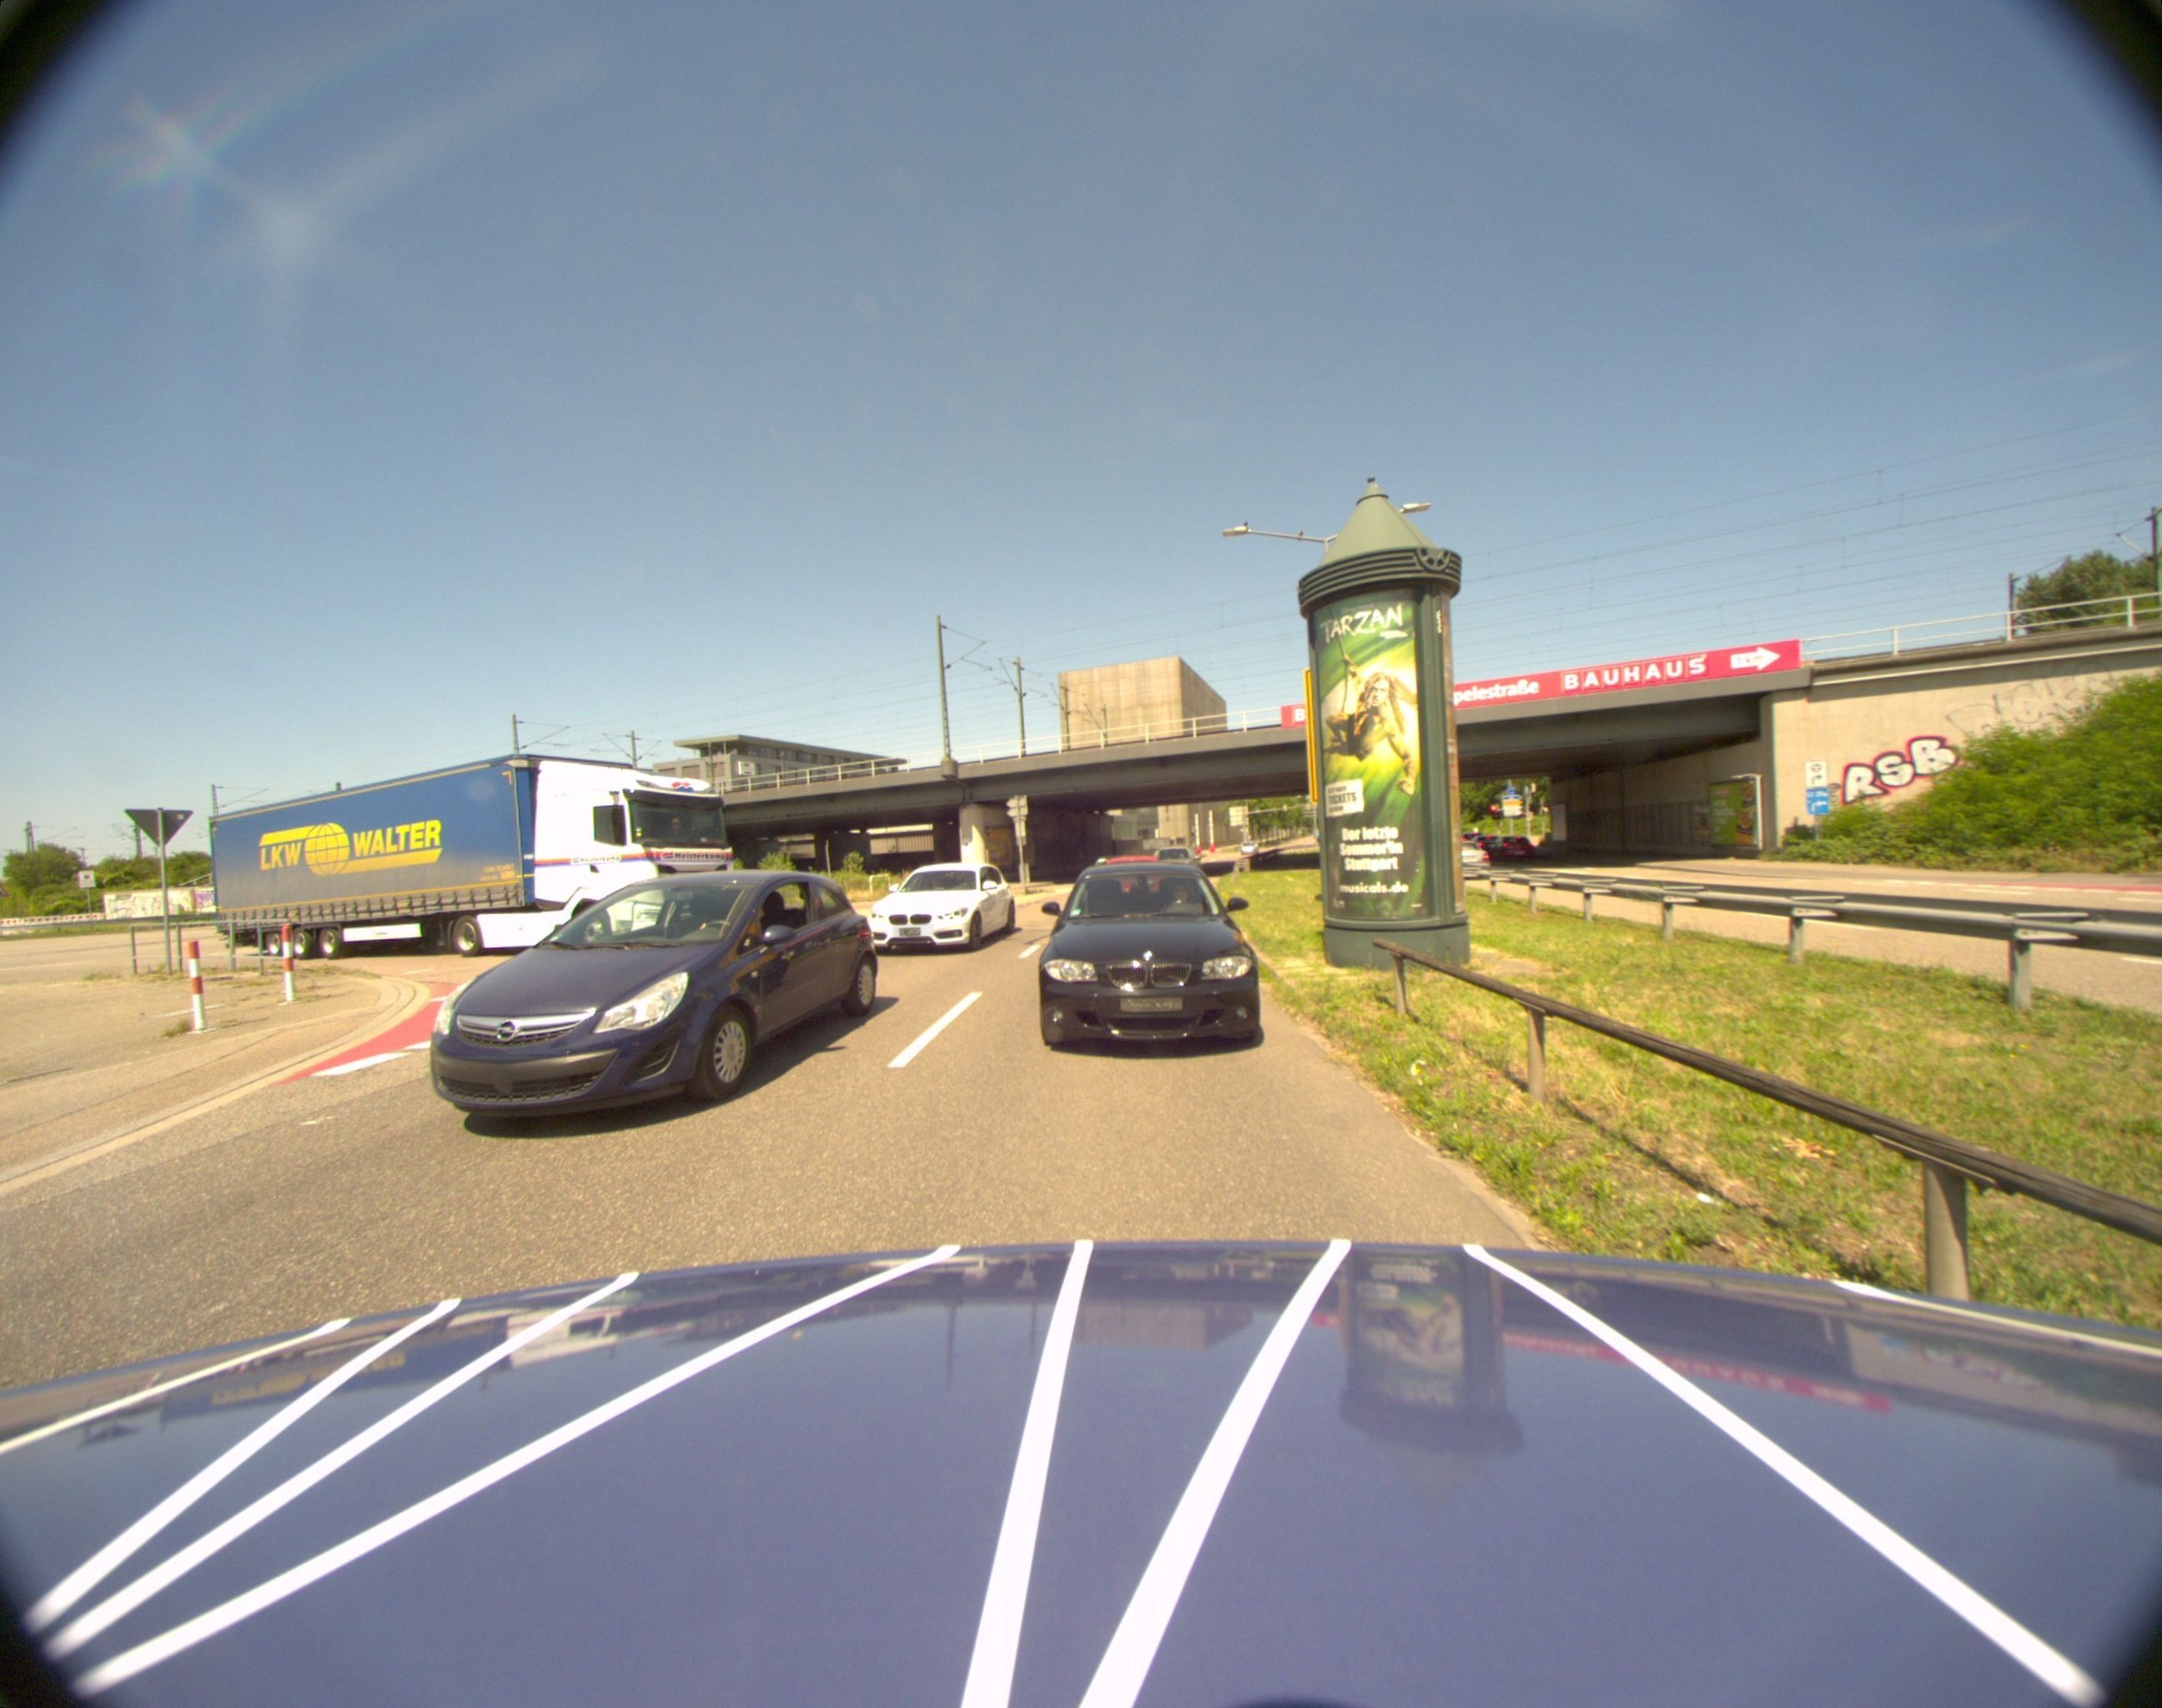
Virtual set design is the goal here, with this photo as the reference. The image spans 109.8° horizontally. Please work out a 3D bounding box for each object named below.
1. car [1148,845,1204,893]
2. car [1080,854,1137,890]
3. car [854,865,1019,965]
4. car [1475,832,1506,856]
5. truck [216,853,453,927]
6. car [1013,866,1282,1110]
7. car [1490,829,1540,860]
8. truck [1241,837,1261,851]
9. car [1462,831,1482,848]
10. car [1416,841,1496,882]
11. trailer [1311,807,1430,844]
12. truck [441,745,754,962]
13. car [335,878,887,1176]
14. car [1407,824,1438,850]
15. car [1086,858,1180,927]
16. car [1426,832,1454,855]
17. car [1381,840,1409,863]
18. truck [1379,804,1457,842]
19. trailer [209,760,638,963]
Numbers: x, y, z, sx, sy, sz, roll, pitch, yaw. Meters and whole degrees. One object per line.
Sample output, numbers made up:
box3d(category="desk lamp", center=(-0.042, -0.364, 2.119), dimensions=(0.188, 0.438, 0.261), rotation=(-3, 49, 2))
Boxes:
box3d(category="car", center=(3.843, 0.546, 30.178), dimensions=(1.844, 1.686, 3.702), rotation=(-2, 1, 12))
box3d(category="car", center=(1.332, 0.800, 34.978), dimensions=(1.715, 1.434, 4.004), rotation=(-2, 1, 15))
box3d(category="car", center=(-2.393, 0.967, 13.666), dimensions=(1.762, 1.435, 4.054), rotation=(0, 0, 7))
box3d(category="car", center=(26.839, -0.663, 49.874), dimensions=(1.571, 1.494, 3.412), rotation=(-2, 1, 25))
box3d(category="truck", center=(-49.627, 2.055, 51.911), dimensions=(2.754, 4.079, 17.420), rotation=(-3, 1, -13))
box3d(category="car", center=(0.572, 0.910, 6.923), dimensions=(1.681, 1.409, 4.057), rotation=(-2, 1, 4))
box3d(category="car", center=(25.252, -0.593, 44.334), dimensions=(1.774, 1.658, 4.020), rotation=(-2, 1, 19))
box3d(category="truck", center=(20.116, -1.160, 89.713), dimensions=(1.728, 1.493, 4.005), rotation=(-2, 1, 21))
box3d(category="car", center=(28.920, -1.090, 56.235), dimensions=(1.183, 1.241, 2.696), rotation=(-2, 1, 25))
box3d(category="car", center=(13.835, 0.236, 28.281), dimensions=(1.637, 1.395, 4.225), rotation=(-1, 1, 12))
box3d(category="trailer", center=(30.511, -2.943, 81.256), dimensions=(2.968, 3.354, 13.867), rotation=(-3, 1, -23))
box3d(category="truck", center=(-10.409, 0.060, 16.452), dimensions=(5.749, 4.078, 2.579), rotation=(-2, 1, 20))
box3d(category="car", center=(-3.012, 0.993, 5.975), dimensions=(1.649, 1.435, 3.892), rotation=(-2, 0, 5))
box3d(category="car", center=(25.967, -1.273, 57.911), dimensions=(1.904, 1.849, 4.005), rotation=(-2, 1, 22))
box3d(category="car", center=(1.340, 0.825, 17.943), dimensions=(1.645, 1.391, 4.056), rotation=(0, 0, 12))
box3d(category="car", center=(24.455, -0.740, 51.791), dimensions=(1.617, 1.468, 3.438), rotation=(-2, 1, 25))
box3d(category="car", center=(19.097, -0.162, 46.211), dimensions=(1.410, 1.311, 3.266), rotation=(-2, 1, 24))
box3d(category="truck", center=(33.524, -3.047, 75.703), dimensions=(6.548, 3.398, 3.028), rotation=(-2, 1, 35))
box3d(category="trailer", center=(-17.144, 0.458, 19.255), dimensions=(13.873, 4.066, 2.504), rotation=(-3, 1, 25))
